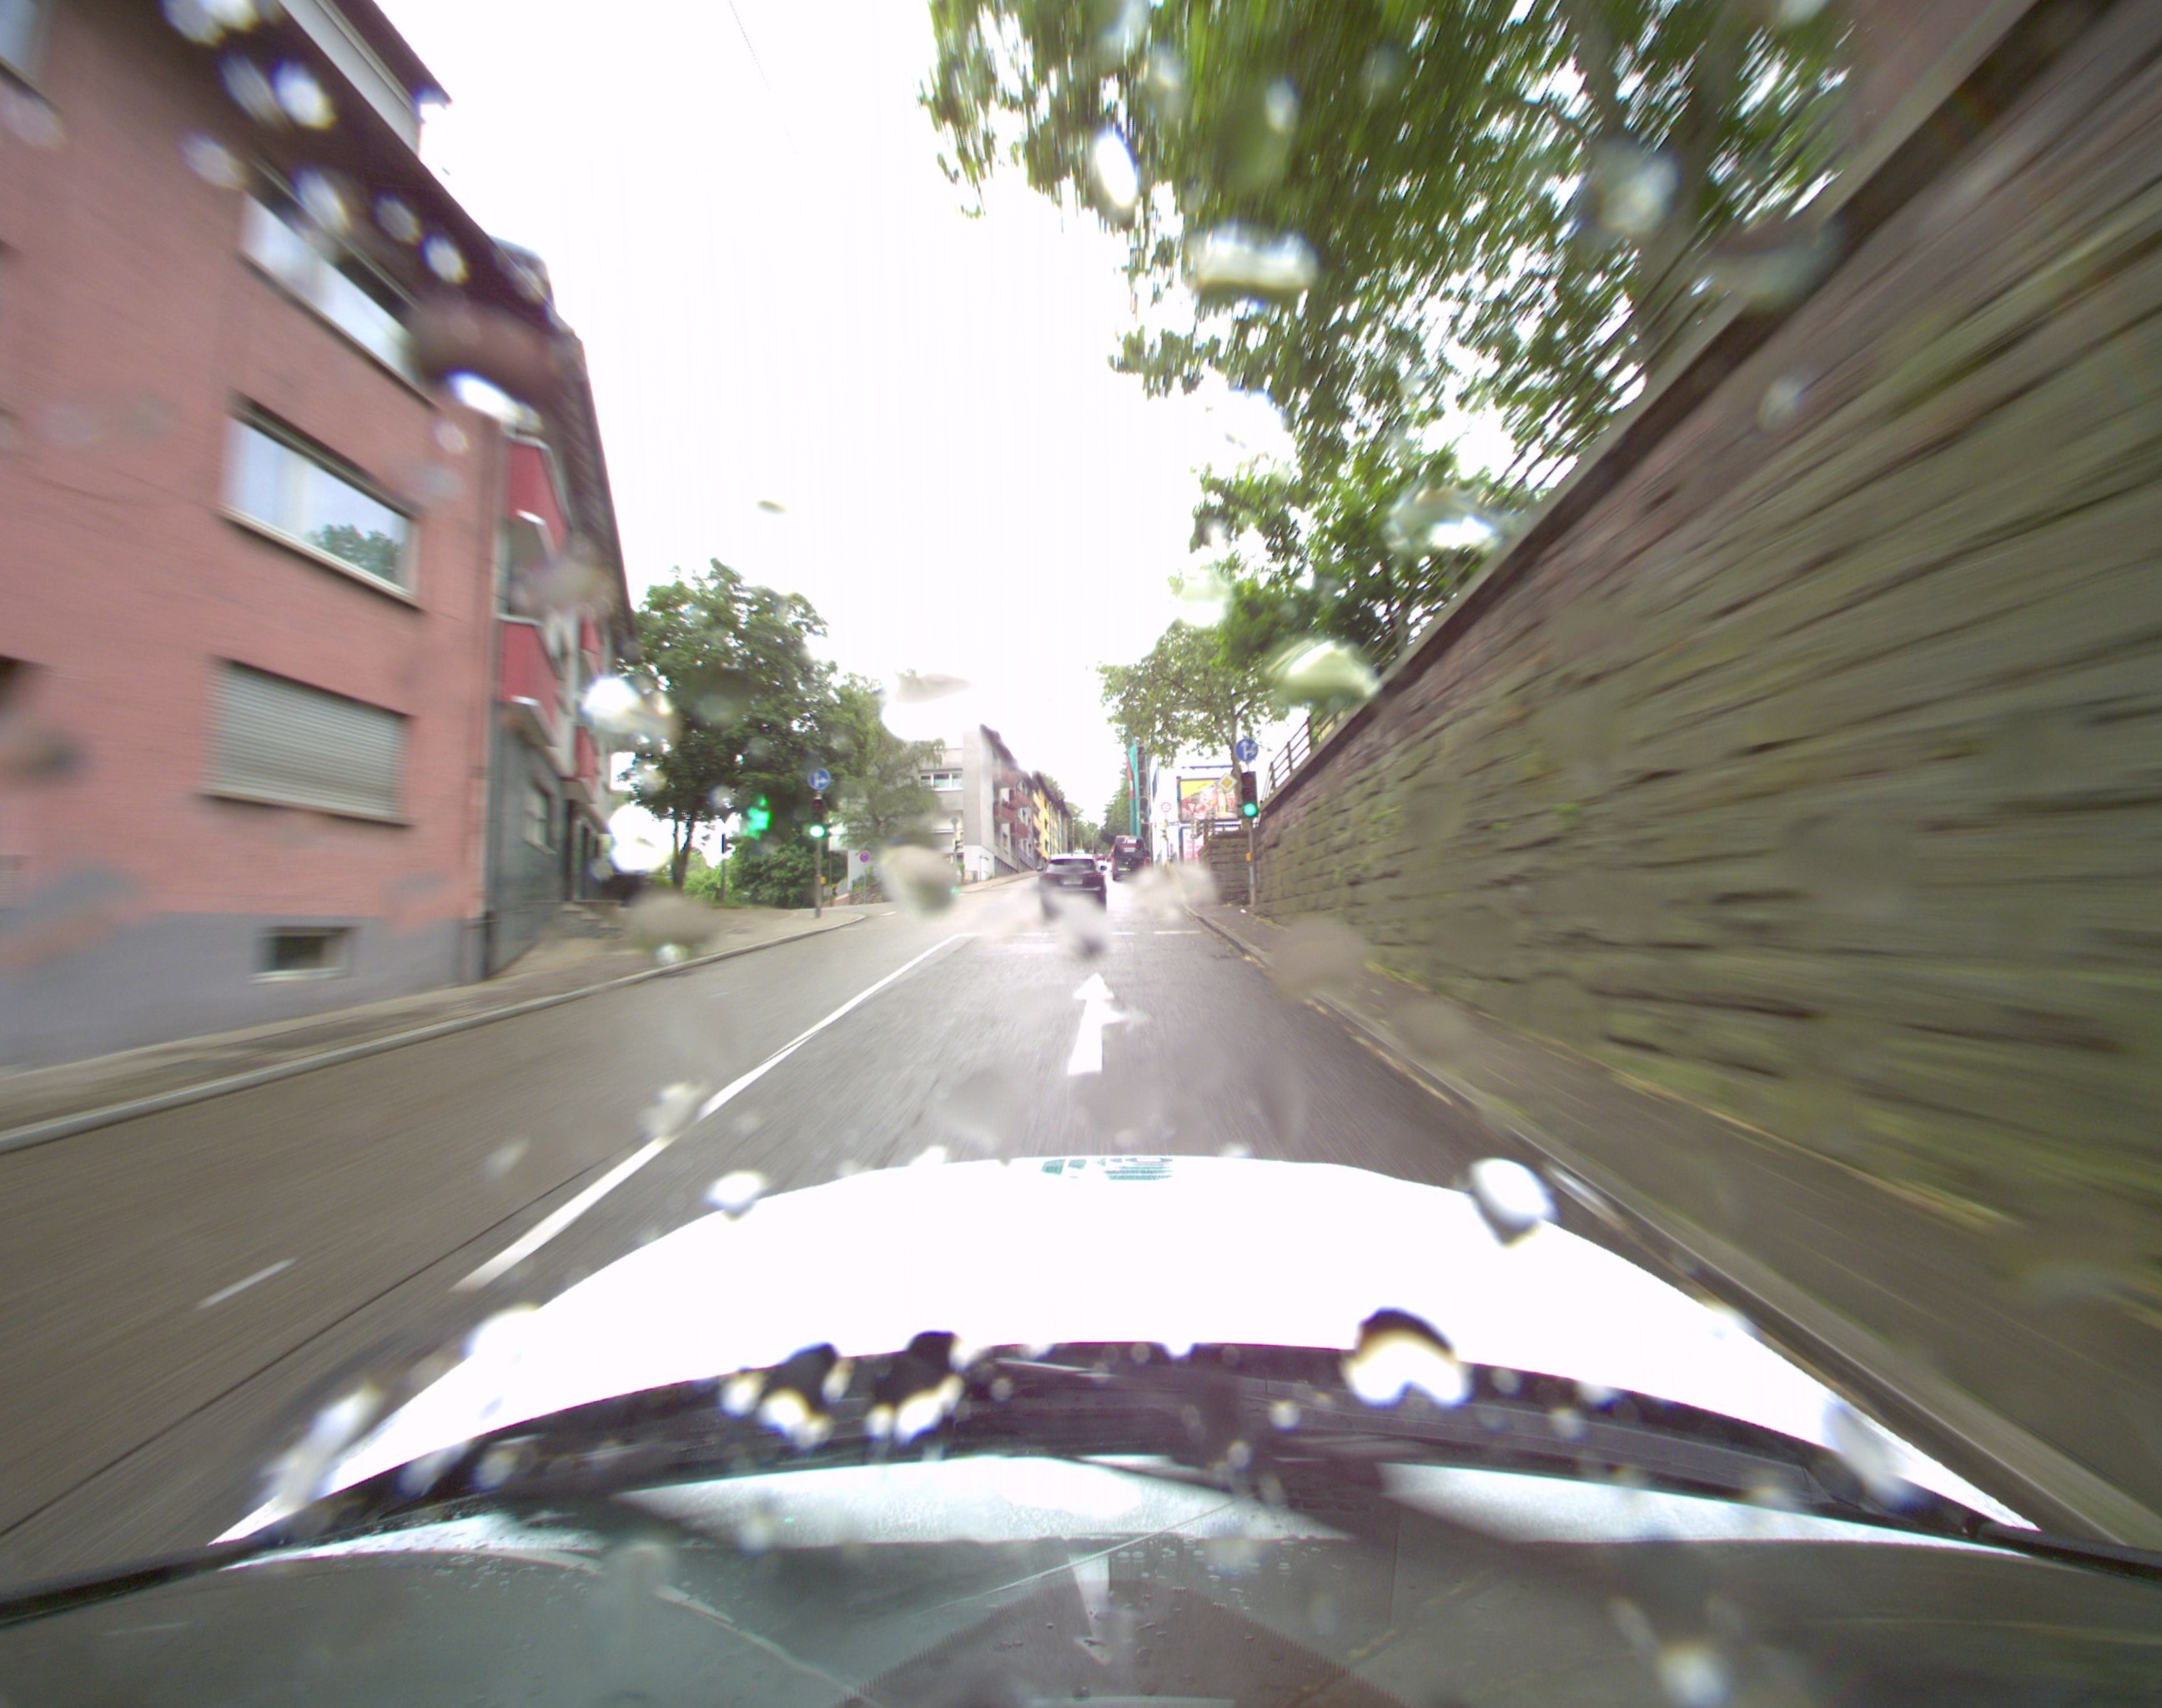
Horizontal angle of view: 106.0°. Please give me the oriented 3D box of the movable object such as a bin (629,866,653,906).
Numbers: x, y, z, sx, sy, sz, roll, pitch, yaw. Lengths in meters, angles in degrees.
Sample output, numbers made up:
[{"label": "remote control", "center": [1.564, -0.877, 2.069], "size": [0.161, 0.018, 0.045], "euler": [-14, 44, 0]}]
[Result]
[{"label": "movable object such as a bin", "center": [-13.371, 0.976, 24.741], "size": [0.562, 1.200, 0.683], "euler": [1, -3, -24]}]

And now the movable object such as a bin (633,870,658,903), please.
[{"label": "movable object such as a bin", "center": [-13.542, 1.019, 25.354], "size": [0.630, 1.016, 0.496], "euler": [1, -3, -24]}]

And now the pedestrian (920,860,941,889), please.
[{"label": "pedestrian", "center": [-7.965, 1.089, 43.138], "size": [0.866, 1.541, 1.087], "euler": [0, -2, -1]}]

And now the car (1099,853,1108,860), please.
[{"label": "car", "center": [5.273, 0.592, 192.515], "size": [2.067, 1.559, 4.001], "euler": [-1, 0, 1]}]

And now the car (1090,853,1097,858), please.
[{"label": "car", "center": [3.706, 0.487, 247.909], "size": [2.067, 1.559, 4.001], "euler": [-1, 0, 1]}]

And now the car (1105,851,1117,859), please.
[{"label": "car", "center": [5.681, 0.186, 154.082], "size": [2.067, 1.559, 4.000], "euler": [-1, 0, 0]}]

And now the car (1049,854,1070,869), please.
[{"label": "car", "center": [-2.544, 0.832, 96.909], "size": [1.984, 1.650, 4.447], "euler": [-2, 0, 4]}]

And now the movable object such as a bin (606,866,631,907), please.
[{"label": "movable object such as a bin", "center": [-13.896, 0.968, 24.477], "size": [0.562, 1.200, 0.683], "euler": [1, -3, -24]}]

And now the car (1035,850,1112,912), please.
[{"label": "car", "center": [-0.117, 0.678, 22.950], "size": [1.986, 1.559, 4.002], "euler": [0, 1, 2]}]

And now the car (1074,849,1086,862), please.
[{"label": "car", "center": [-0.180, 0.254, 152.582], "size": [1.983, 2.474, 5.785], "euler": [-2, 0, 1]}]

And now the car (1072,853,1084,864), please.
[{"label": "car", "center": [-0.466, 0.764, 143.046], "size": [1.983, 1.755, 4.481], "euler": [-2, 0, 1]}]

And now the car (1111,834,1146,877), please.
[{"label": "car", "center": [2.863, 0.184, 49.383], "size": [1.985, 2.414, 5.839], "euler": [0, -2, 2]}]
